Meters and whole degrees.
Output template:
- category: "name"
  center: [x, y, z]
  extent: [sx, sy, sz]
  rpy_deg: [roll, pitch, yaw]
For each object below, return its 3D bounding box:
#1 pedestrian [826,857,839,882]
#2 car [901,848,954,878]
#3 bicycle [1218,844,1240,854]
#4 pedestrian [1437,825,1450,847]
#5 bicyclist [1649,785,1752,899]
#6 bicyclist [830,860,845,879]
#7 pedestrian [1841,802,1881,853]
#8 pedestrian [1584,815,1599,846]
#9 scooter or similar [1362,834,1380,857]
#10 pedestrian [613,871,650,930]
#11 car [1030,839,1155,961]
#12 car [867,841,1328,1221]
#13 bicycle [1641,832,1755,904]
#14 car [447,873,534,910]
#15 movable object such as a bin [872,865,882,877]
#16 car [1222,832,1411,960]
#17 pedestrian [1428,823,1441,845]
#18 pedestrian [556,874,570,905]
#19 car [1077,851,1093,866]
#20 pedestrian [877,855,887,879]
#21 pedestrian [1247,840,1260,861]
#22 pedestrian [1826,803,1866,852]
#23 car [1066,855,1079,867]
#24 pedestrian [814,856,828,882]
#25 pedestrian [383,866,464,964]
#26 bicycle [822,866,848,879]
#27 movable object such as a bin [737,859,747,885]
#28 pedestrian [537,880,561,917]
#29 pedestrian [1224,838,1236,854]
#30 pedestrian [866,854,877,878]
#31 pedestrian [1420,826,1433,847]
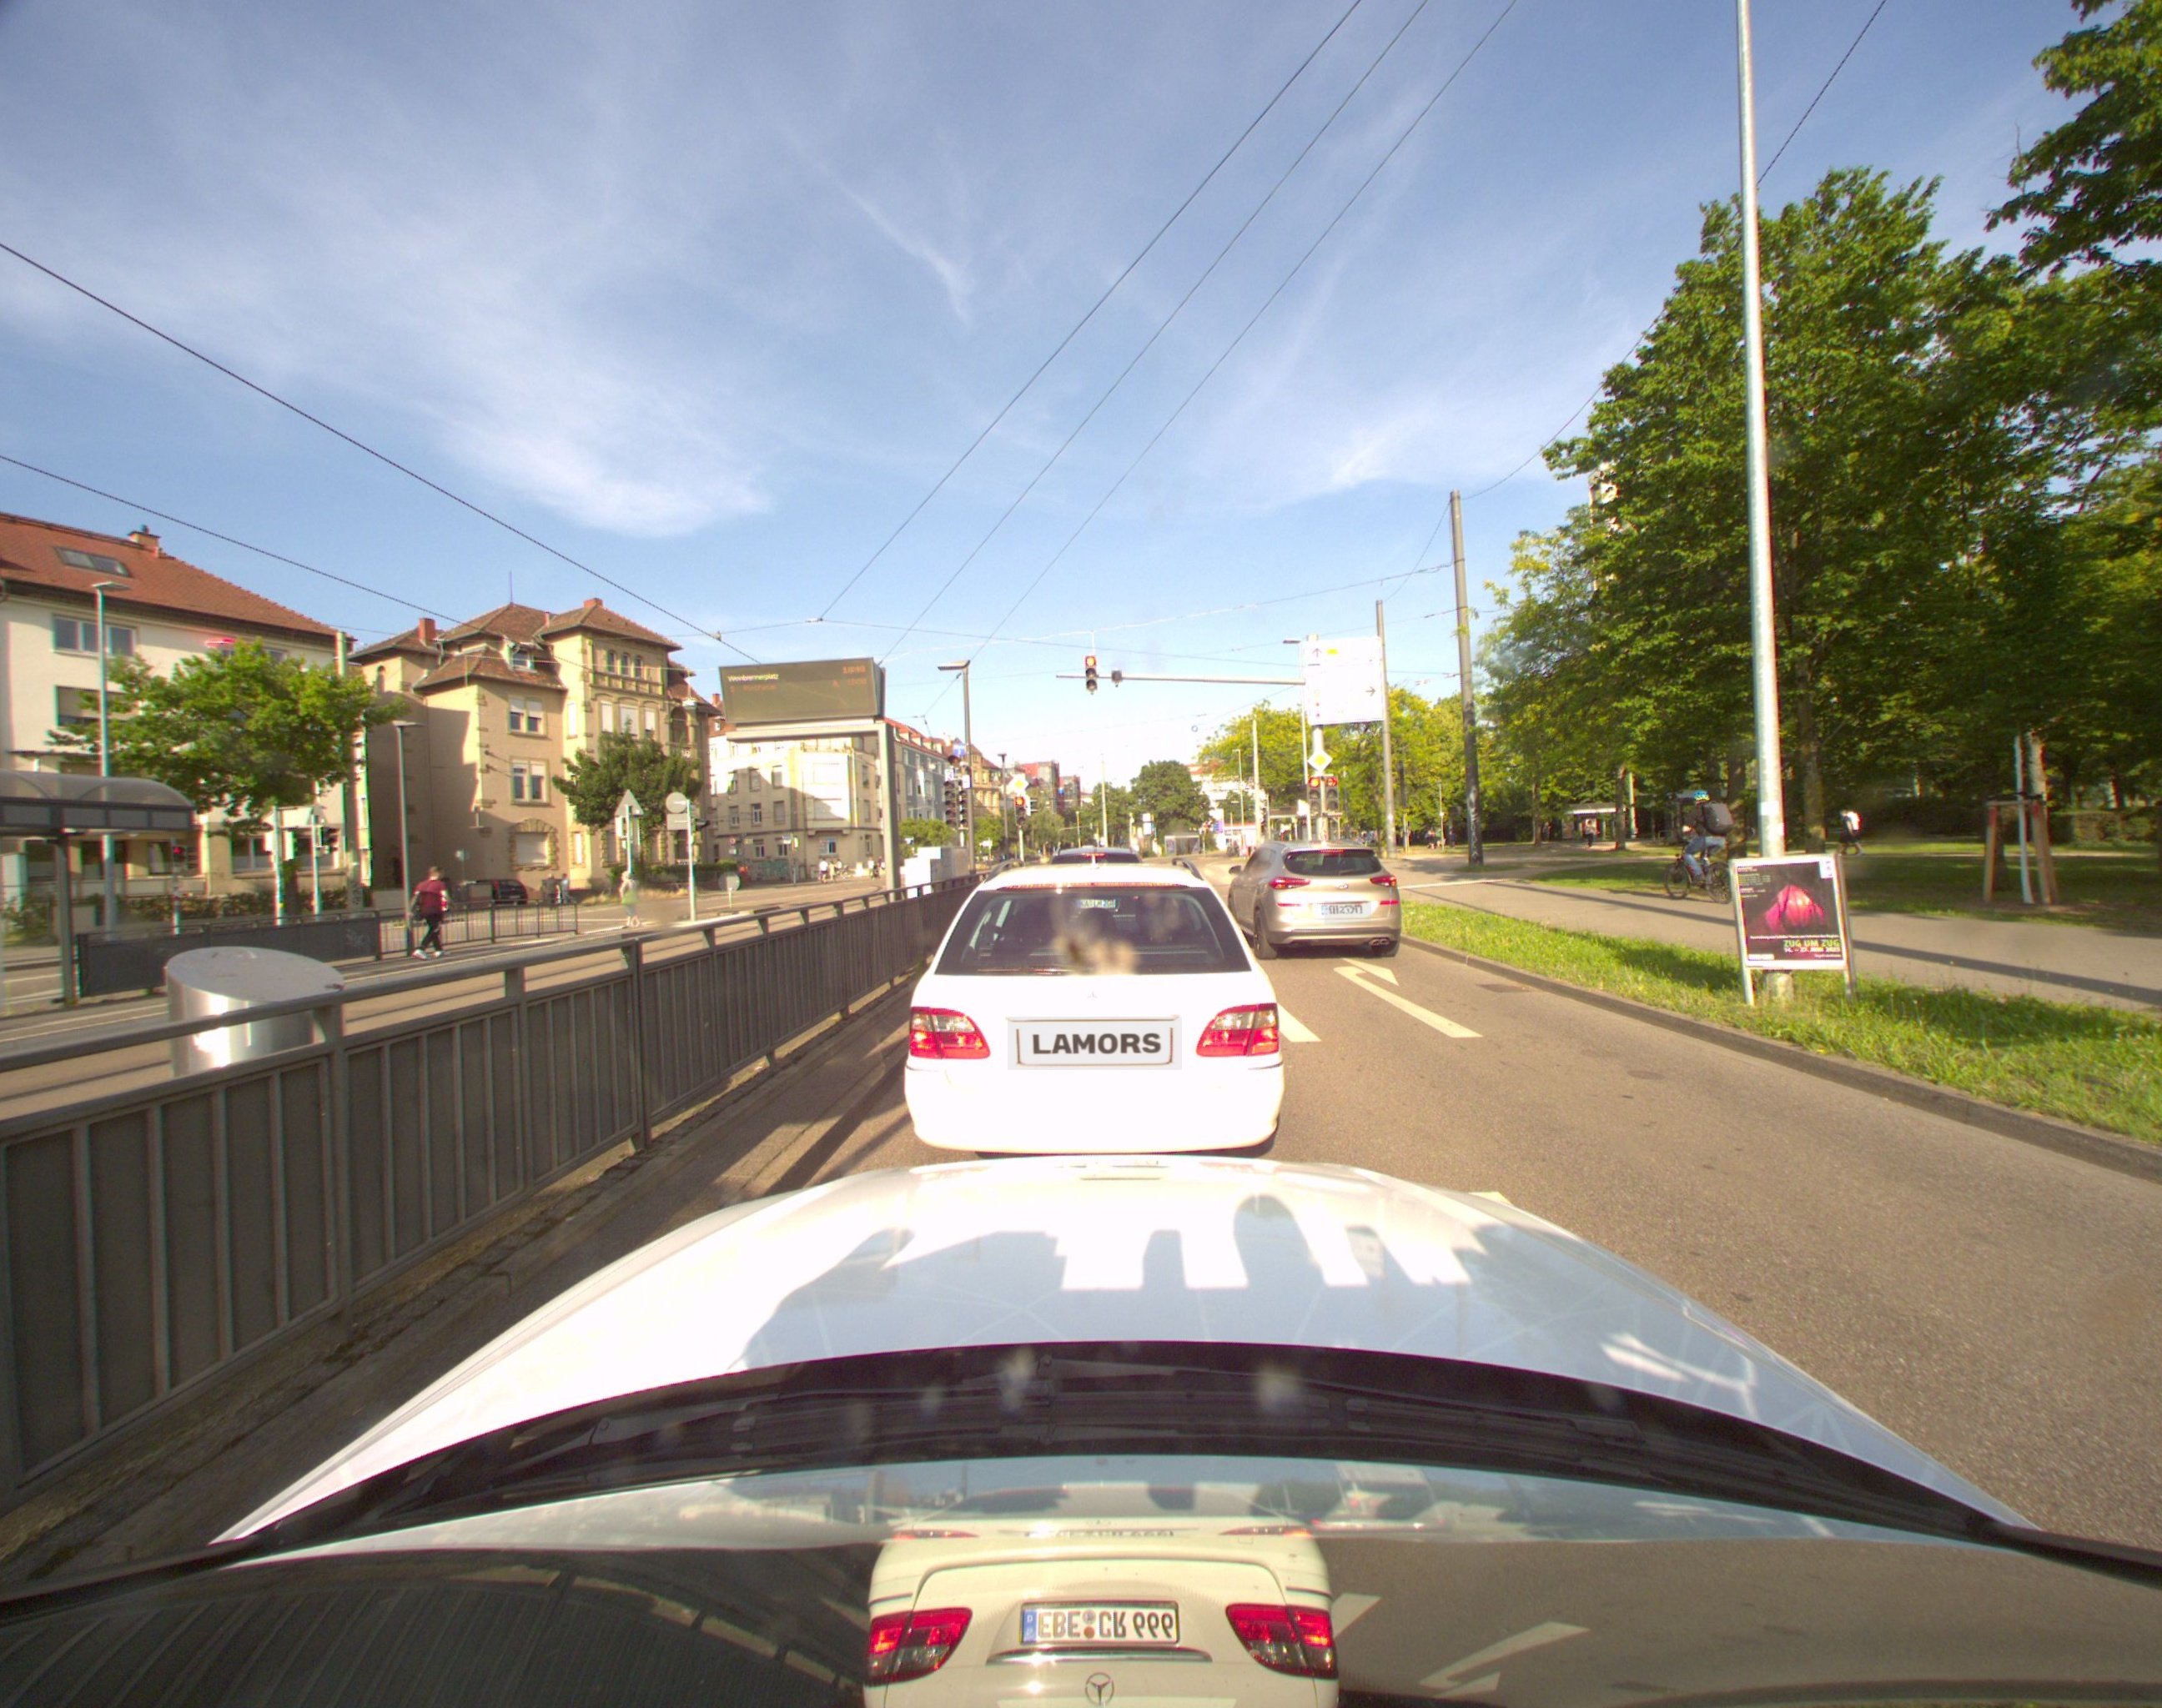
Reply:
- category: "pedestrian"
  center: [-18.653, 1.140, 61.156]
  extent: [0.672, 1.848, 0.649]
  rpy_deg: [-3, 0, -1]
- category: "car"
  center: [-11.309, 0.647, 60.467]
  extent: [2.133, 2.013, 5.398]
  rpy_deg: [-3, 0, 7]
- category: "bicycle"
  center: [15.545, -0.487, 85.541]
  extent: [2.000, 0.947, 0.884]
  rpy_deg: [-3, 0, 21]
- category: "pedestrian"
  center: [27.659, -1.353, 62.087]
  extent: [0.638, 1.665, 0.691]
  rpy_deg: [-3, 0, 1]
- category: "bicyclist"
  center: [10.209, -0.190, 13.467]
  extent: [0.716, 1.745, 1.142]
  rpy_deg: [-6, 0, 5]
- category: "bicyclist"
  center: [-21.184, 1.316, 70.890]
  extent: [1.037, 1.569, 0.661]
  rpy_deg: [-3, 0, -3]
- category: "pedestrian"
  center: [29.090, -0.974, 30.379]
  extent: [0.668, 1.897, 0.880]
  rpy_deg: [-1, 0, 3]
- category: "pedestrian"
  center: [31.247, -1.429, 49.888]
  extent: [0.462, 1.868, 0.602]
  rpy_deg: [0, -1, -19]
- category: "scooter or similar"
  center: [16.108, -0.450, 45.236]
  extent: [0.351, 1.232, 1.131]
  rpy_deg: [-3, 0, -12]
- category: "pedestrian"
  center: [-12.557, 1.281, 22.770]
  extent: [0.588, 1.589, 0.715]
  rpy_deg: [-3, 0, -2]
- category: "car"
  center: [0.219, 0.605, 12.785]
  extent: [1.635, 1.600, 3.817]
  rpy_deg: [-1, 0, 2]
- category: "car"
  center: [0.123, 0.708, 5.193]
  extent: [1.828, 1.501, 3.817]
  rpy_deg: [-1, 0, 2]
- category: "bicycle"
  center: [10.263, 0.214, 13.629]
  extent: [0.637, 1.088, 1.736]
  rpy_deg: [-5, 0, 6]
- category: "car"
  center: [-29.412, 1.877, 40.573]
  extent: [3.950, 1.632, 1.787]
  rpy_deg: [-3, 1, 26]
- category: "movable object such as a bin"
  center: [-16.672, 1.379, 66.624]
  extent: [0.581, 0.947, 0.663]
  rpy_deg: [-3, 0, 0]
- category: "car"
  center: [3.335, 0.533, 12.304]
  extent: [1.828, 1.600, 3.817]
  rpy_deg: [-1, 0, 2]
- category: "pedestrian"
  center: [27.434, -1.538, 63.267]
  extent: [0.638, 1.665, 0.691]
  rpy_deg: [-3, 0, 1]
- category: "pedestrian"
  center: [-26.089, 1.800, 41.049]
  extent: [0.400, 1.515, 0.392]
  rpy_deg: [-3, 0, 28]
- category: "car"
  center: [0.697, 0.681, 134.596]
  extent: [2.168, 2.239, 5.257]
  rpy_deg: [-3, 0, 3]
- category: "pedestrian"
  center: [-16.120, 1.019, 65.909]
  extent: [0.582, 1.880, 0.626]
  rpy_deg: [-3, 3, -1]
- category: "pedestrian"
  center: [17.207, -0.364, 81.318]
  extent: [0.986, 2.013, 0.833]
  rpy_deg: [-3, 0, 29]
- category: "pedestrian"
  center: [28.357, -0.959, 30.190]
  extent: [0.668, 1.777, 0.881]
  rpy_deg: [-1, 0, 3]
- category: "car"
  center: [-1.200, 1.010, 118.834]
  extent: [1.670, 1.525, 4.128]
  rpy_deg: [-3, 1, 3]
- category: "pedestrian"
  center: [-19.526, 1.136, 61.138]
  extent: [0.653, 1.881, 0.629]
  rpy_deg: [-3, 0, 16]
- category: "pedestrian"
  center: [-11.837, 1.077, 14.681]
  extent: [0.668, 1.670, 0.883]
  rpy_deg: [-3, 0, -1]
- category: "bicycle"
  center: [-21.437, 1.618, 70.872]
  extent: [1.986, 1.006, 0.741]
  rpy_deg: [-3, 0, -4]
- category: "movable object such as a bin"
  center: [-23.578, 1.247, 56.648]
  extent: [0.265, 1.709, 2.360]
  rpy_deg: [-3, 0, -29]
- category: "pedestrian"
  center: [-24.213, 2.019, 37.039]
  extent: [0.672, 1.651, 0.608]
  rpy_deg: [-3, 0, 28]
- category: "pedestrian"
  center: [15.630, -0.871, 85.510]
  extent: [0.998, 1.591, 0.870]
  rpy_deg: [-3, 0, 21]
- category: "pedestrian"
  center: [-16.908, 0.997, 65.721]
  extent: [0.581, 1.881, 0.628]
  rpy_deg: [-3, 0, 6]
- category: "pedestrian"
  center: [27.191, -1.338, 64.121]
  extent: [0.638, 1.610, 0.691]
  rpy_deg: [-3, 0, 1]
